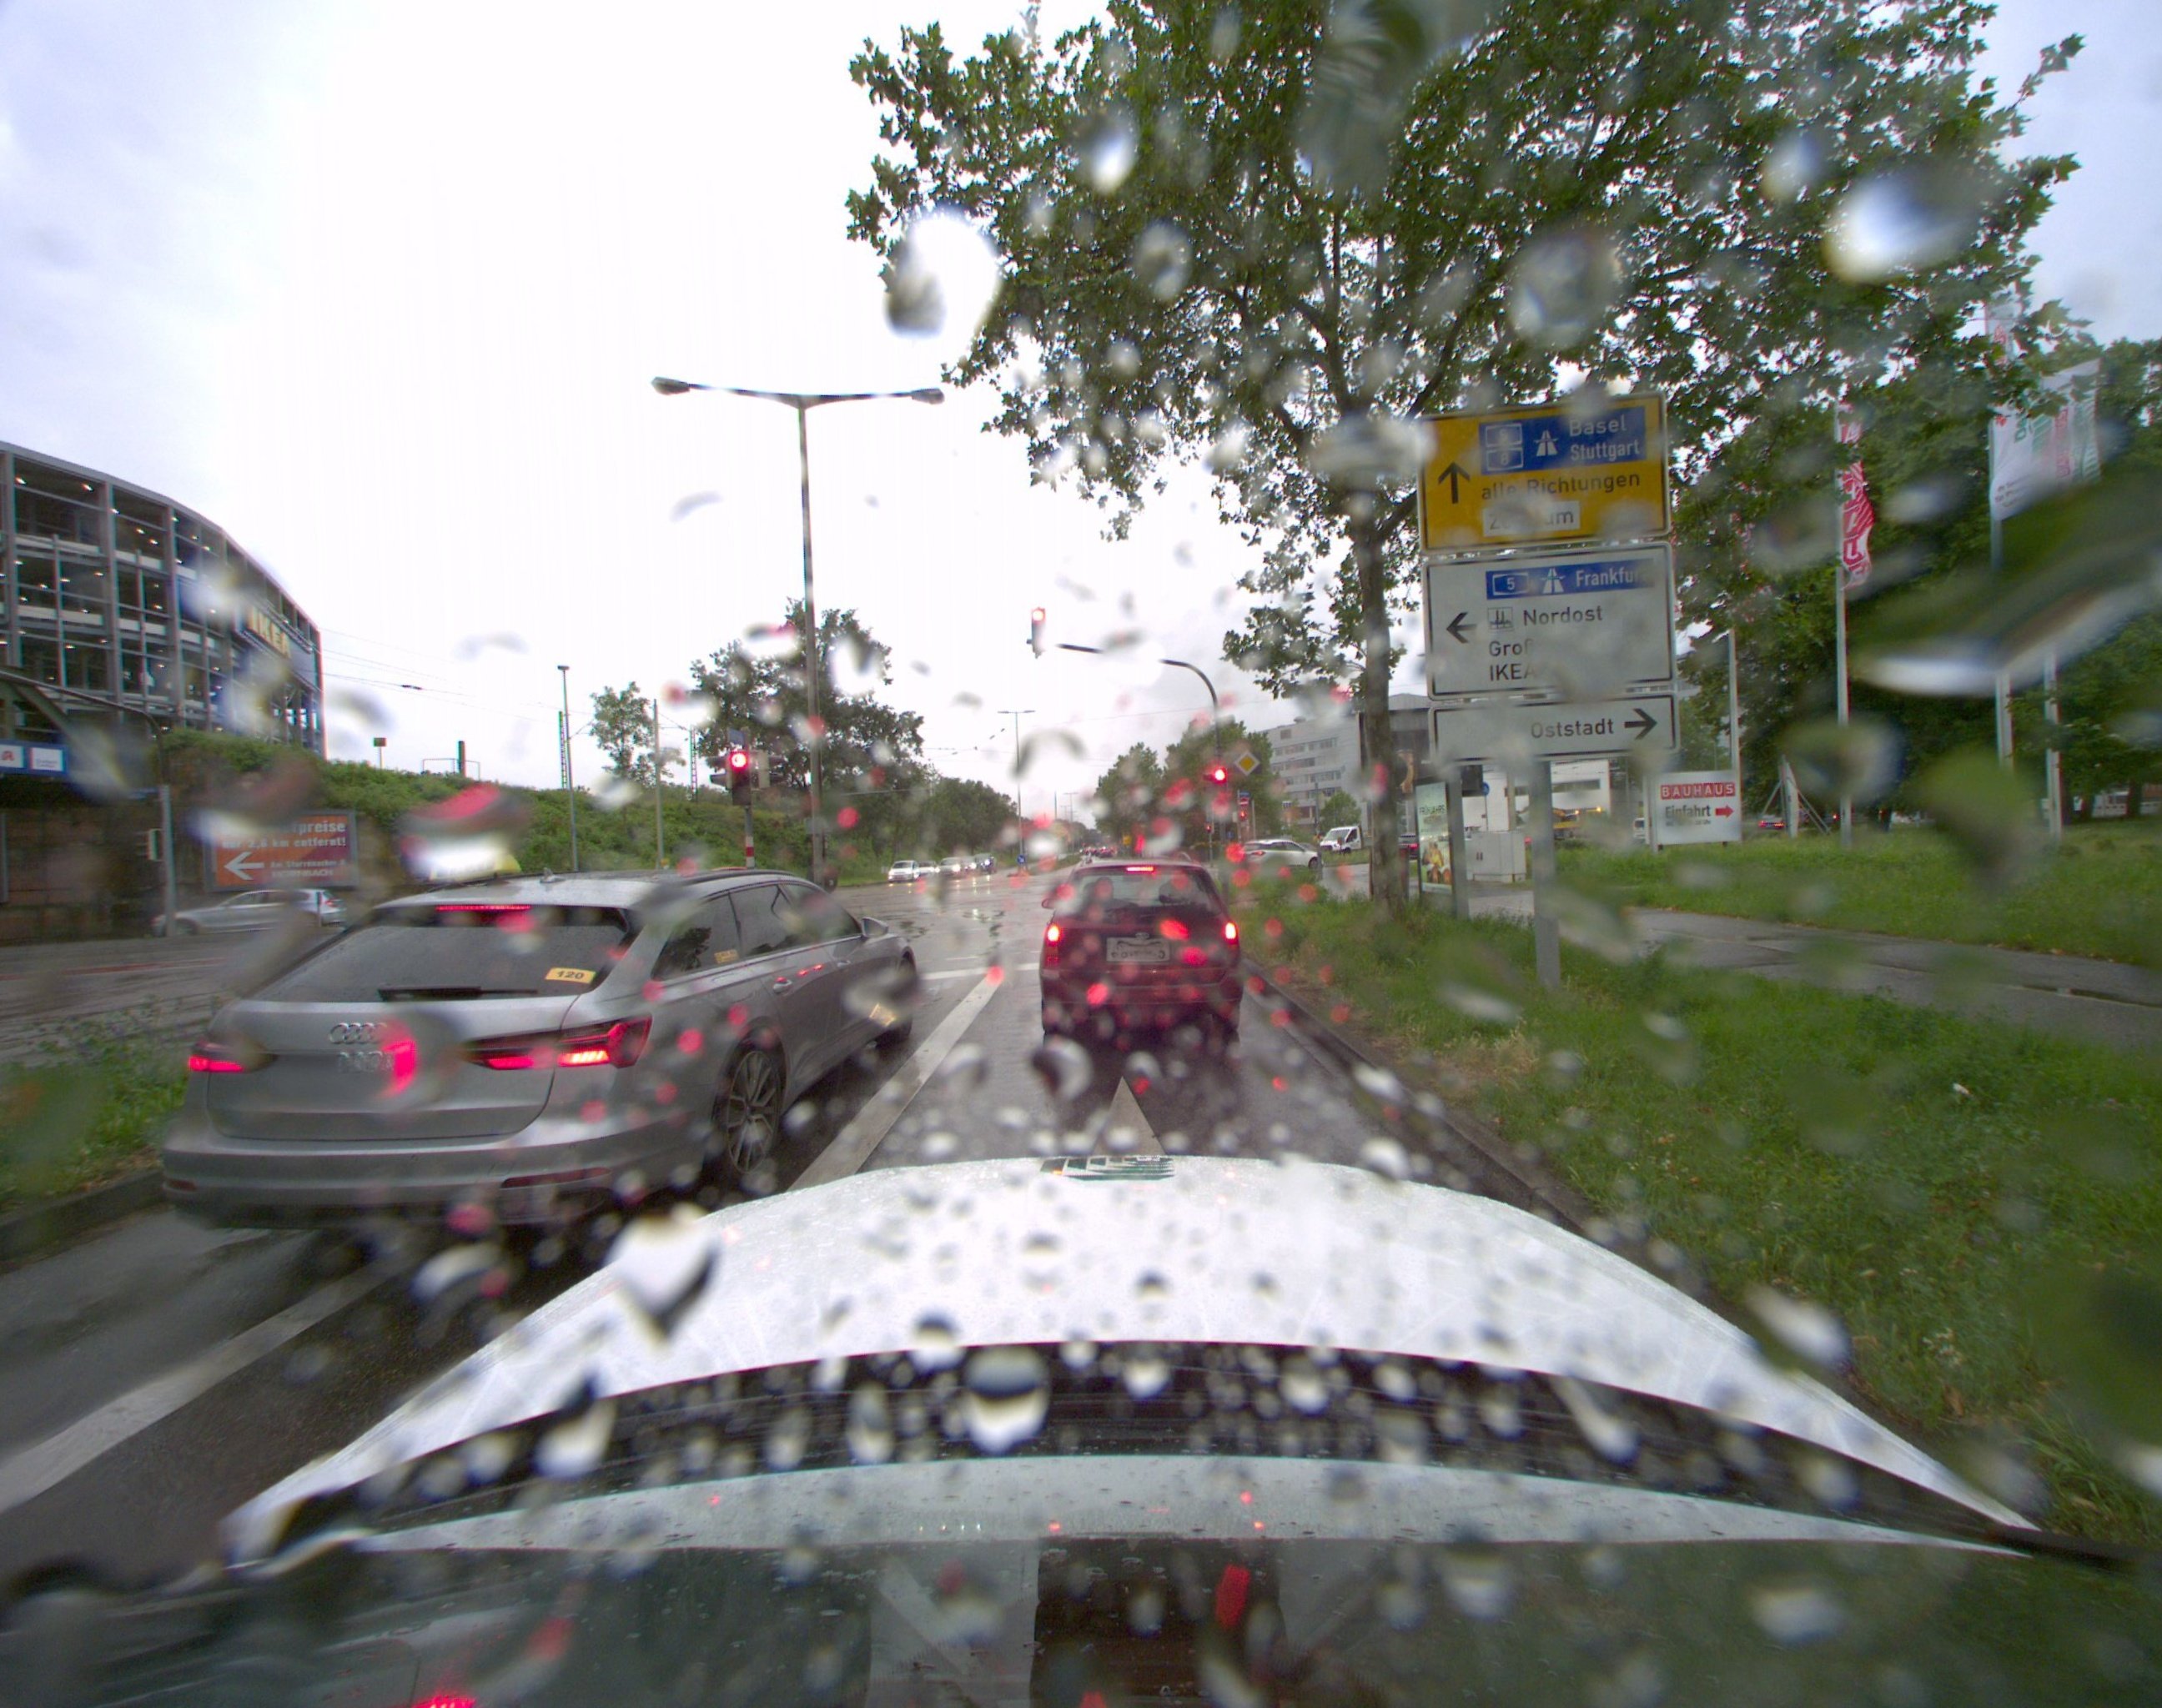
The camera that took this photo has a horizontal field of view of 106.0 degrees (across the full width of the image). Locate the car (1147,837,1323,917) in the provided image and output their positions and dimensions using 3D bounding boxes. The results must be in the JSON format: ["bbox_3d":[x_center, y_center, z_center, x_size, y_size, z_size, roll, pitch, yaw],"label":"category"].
[{"bbox_3d":[3.909,0.492,20.265,4.409,1.537,1.781,-5,3,-38],"label":"car"}]

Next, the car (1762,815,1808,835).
[{"bbox_3d":[58.826,-2.447,68.062,4.405,1.537,1.783,-2,0,-34],"label":"car"}]

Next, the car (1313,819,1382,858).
[{"bbox_3d":[17.530,-1.006,53.495,4.405,2.190,1.783,-5,1,-33],"label":"car"}]

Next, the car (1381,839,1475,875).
[{"bbox_3d":[16.891,0.156,39.555,4.398,1.537,1.786,-3,0,-28],"label":"car"}]

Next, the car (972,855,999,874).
[{"bbox_3d":[-8.302,0.856,70.925,1.706,1.530,4.002,-3,0,2],"label":"car"}]

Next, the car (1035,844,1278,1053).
[{"bbox_3d":[0.628,0.708,8.256,1.789,1.537,4.389,-1,0,2],"label":"car"}]

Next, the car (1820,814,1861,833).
[{"bbox_3d":[68.319,-2.769,73.239,4.405,1.537,1.783,-2,0,-35],"label":"car"}]

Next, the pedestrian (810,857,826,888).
[{"bbox_3d":[-14.928,1.049,46.262,0.528,1.786,0.676,-1,-1,19],"label":"pedestrian"}]

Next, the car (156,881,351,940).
[{"bbox_3d":[-25.886,1.719,25.700,4.019,1.486,1.798,-2,0,-37],"label":"car"}]

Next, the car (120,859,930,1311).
[{"bbox_3d":[-2.285,0.786,4.999,1.684,1.433,4.576,-2,0,2],"label":"car"}]

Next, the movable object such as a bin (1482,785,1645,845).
[{"bbox_3d":[58.079,-4.452,98.656,8.296,6.283,14.818,0,-1,-32],"label":"movable object such as a bin"}]

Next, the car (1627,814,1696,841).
[{"bbox_3d":[37.565,-1.704,52.670,4.398,1.537,1.786,-3,0,-28],"label":"car"}]

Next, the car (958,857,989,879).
[{"bbox_3d":[-8.306,1.057,63.305,1.706,1.530,4.002,-3,0,2],"label":"car"}]

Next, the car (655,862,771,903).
[{"bbox_3d":[-15.039,1.130,33.343,4.018,1.429,1.699,-3,0,-36],"label":"car"}]

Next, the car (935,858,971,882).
[{"bbox_3d":[-8.850,1.083,56.552,1.706,1.530,4.002,-3,0,2],"label":"car"}]

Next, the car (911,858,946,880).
[{"bbox_3d":[-11.569,1.100,61.939,1.706,1.530,4.002,-3,0,2],"label":"car"}]

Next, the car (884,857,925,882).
[{"bbox_3d":[-11.950,1.042,55.405,1.706,1.530,4.002,-3,0,2],"label":"car"}]

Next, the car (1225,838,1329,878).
[{"bbox_3d":[8.408,0.153,34.811,4.077,1.521,1.980,-2,0,-31],"label":"car"}]
